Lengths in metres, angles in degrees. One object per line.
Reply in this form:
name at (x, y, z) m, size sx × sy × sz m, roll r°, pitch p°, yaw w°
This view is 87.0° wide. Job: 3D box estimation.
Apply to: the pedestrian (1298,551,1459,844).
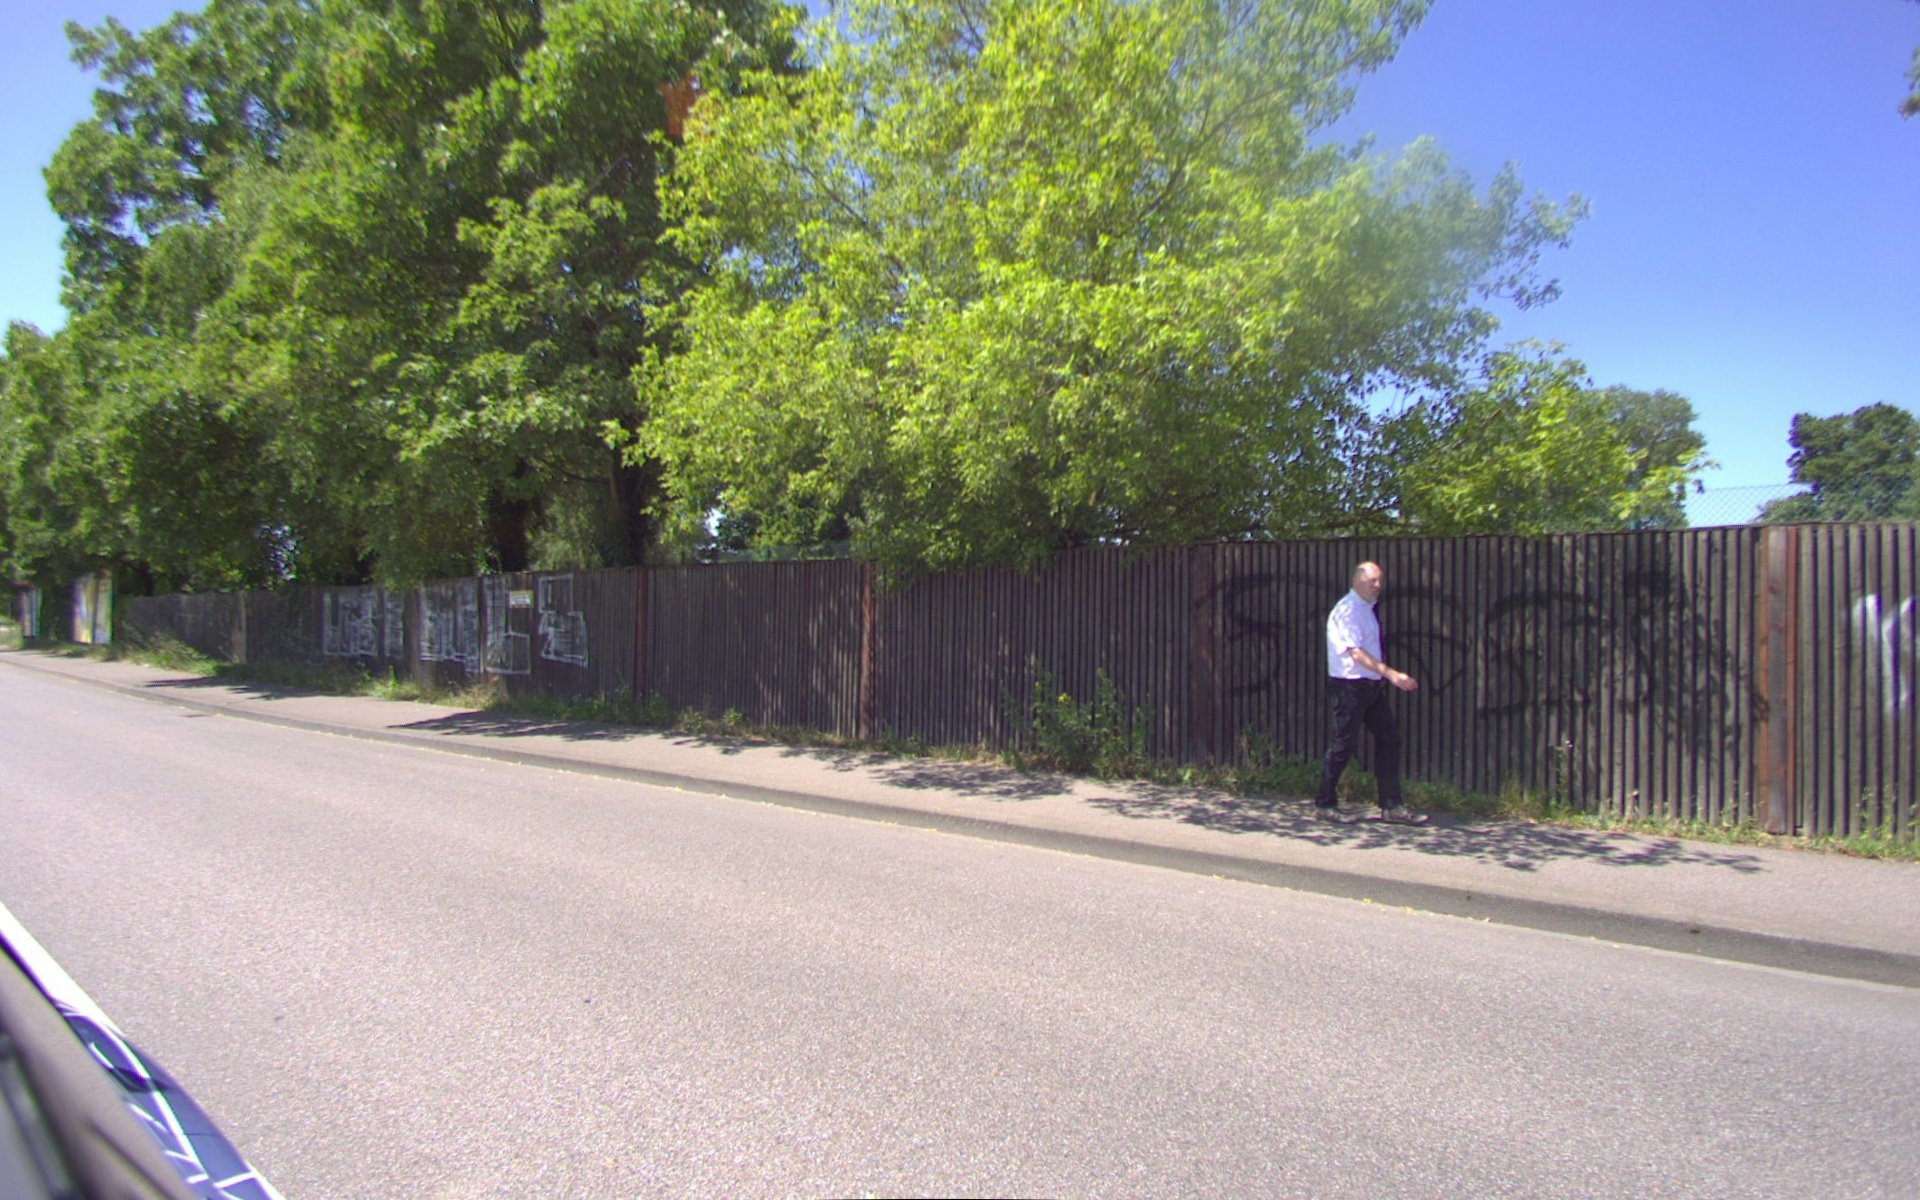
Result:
pedestrian at (2.825, 0.613, 6.843) m, size 0.850 × 1.838 × 0.586 m, roll -1°, pitch -1°, yaw 41°
